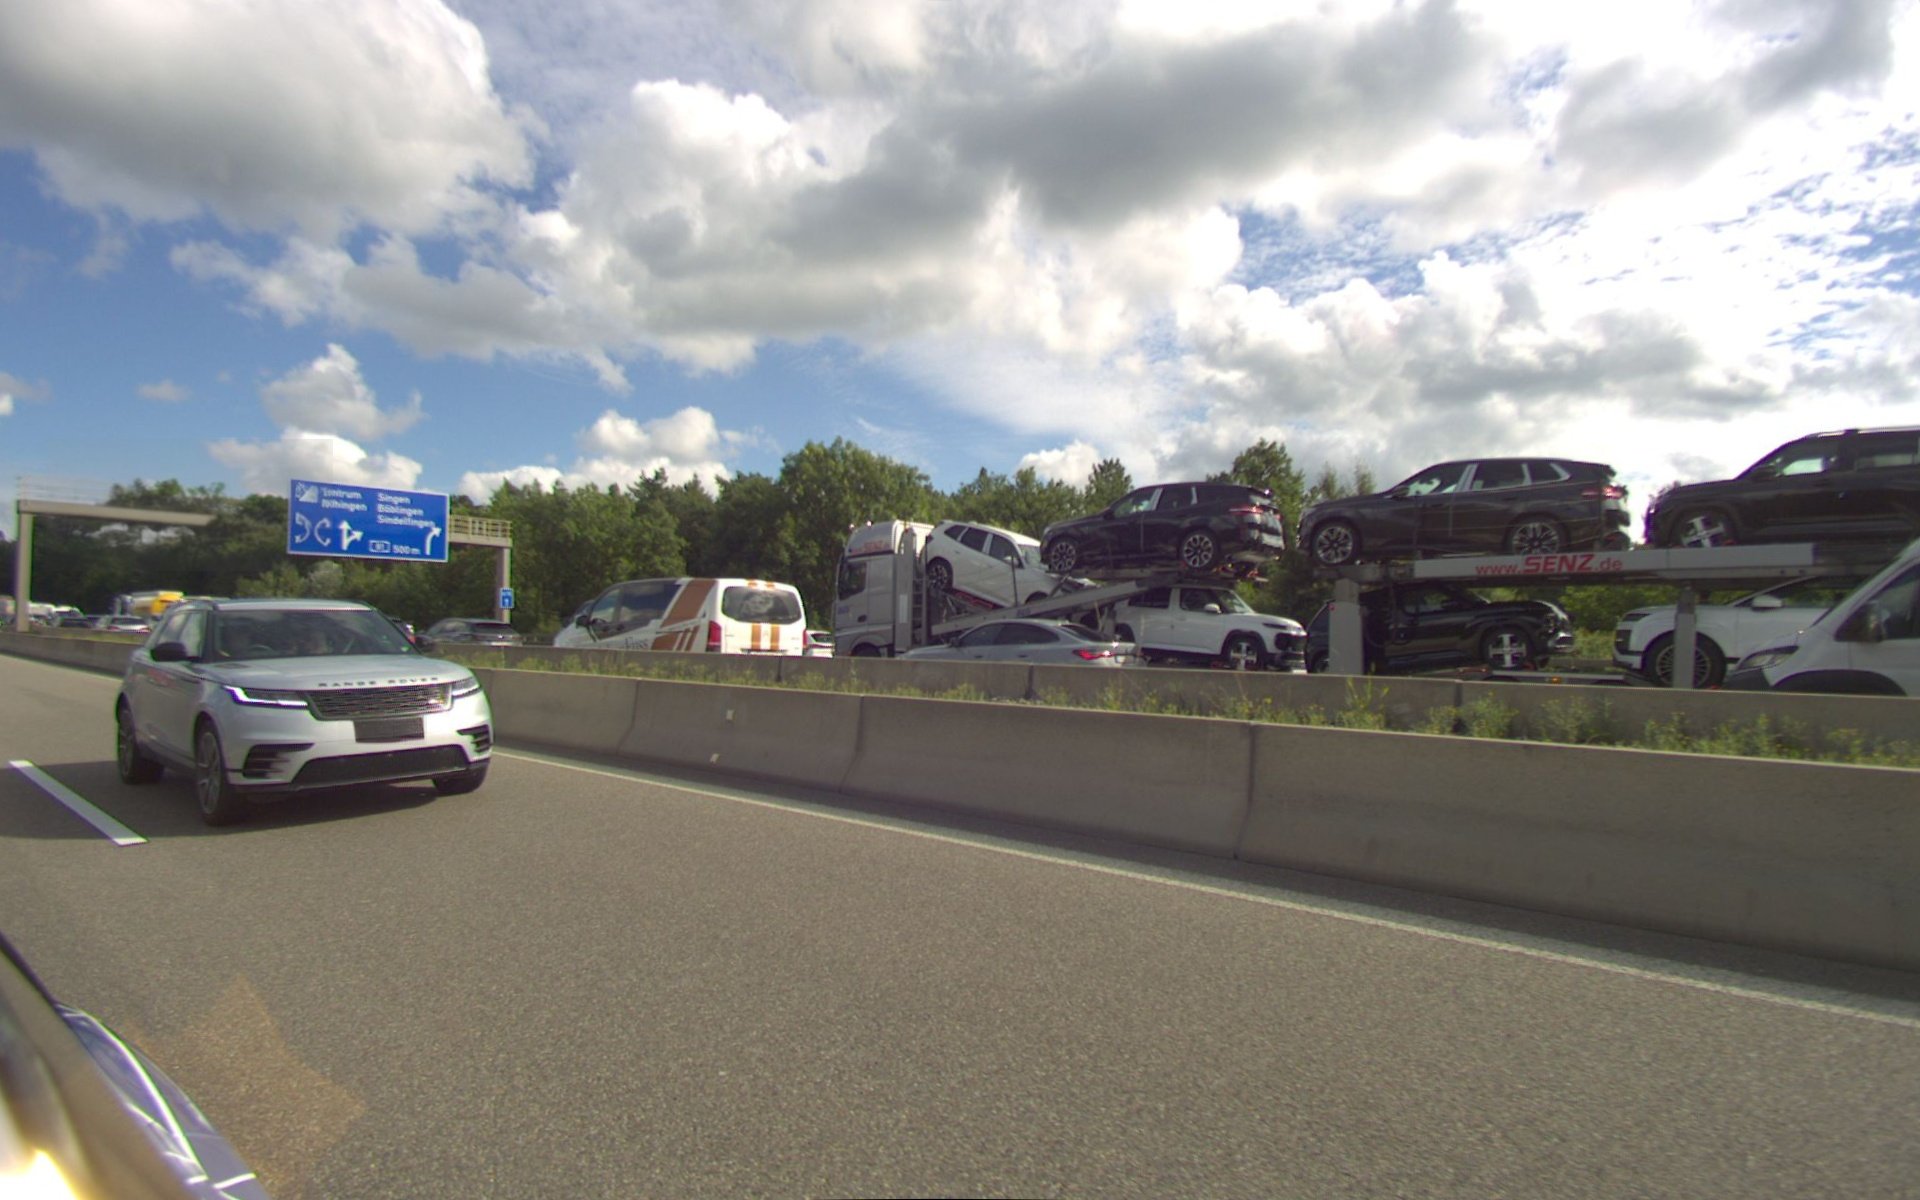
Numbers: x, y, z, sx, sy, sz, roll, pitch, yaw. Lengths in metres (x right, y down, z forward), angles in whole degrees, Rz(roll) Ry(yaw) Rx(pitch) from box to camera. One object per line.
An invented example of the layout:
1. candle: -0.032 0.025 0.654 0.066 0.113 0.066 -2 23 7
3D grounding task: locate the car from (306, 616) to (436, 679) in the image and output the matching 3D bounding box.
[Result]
1. car: -14.970 1.168 25.653 3.999 1.383 1.678 -2 1 42

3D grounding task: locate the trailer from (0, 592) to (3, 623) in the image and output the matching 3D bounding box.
1. trailer: -141.423 1.031 146.802 13.171 4.352 2.612 0 0 41

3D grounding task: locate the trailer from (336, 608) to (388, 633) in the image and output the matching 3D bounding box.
1. trailer: -40.775 1.391 68.965 4.347 1.591 1.807 0 0 41

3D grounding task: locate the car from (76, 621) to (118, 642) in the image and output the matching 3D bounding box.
1. car: -58.591 2.095 68.654 4.534 1.334 1.546 -1 0 41

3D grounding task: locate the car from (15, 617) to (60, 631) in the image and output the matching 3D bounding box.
1. car: -61.662 1.590 67.592 5.461 0.934 1.650 -1 0 41

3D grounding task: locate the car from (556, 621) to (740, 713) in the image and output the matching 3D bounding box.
1. car: -7.267 1.443 23.345 4.695 1.890 1.891 -1 -1 41

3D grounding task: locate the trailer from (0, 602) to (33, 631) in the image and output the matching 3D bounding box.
1. trailer: -123.712 2.187 132.155 10.215 3.686 2.857 -1 -1 41

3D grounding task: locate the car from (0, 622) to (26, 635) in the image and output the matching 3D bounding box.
1. car: -95.010 2.853 101.405 3.588 1.266 1.646 -2 0 41

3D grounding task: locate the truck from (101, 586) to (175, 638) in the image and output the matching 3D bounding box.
1. truck: -64.966 0.932 79.963 6.798 3.929 3.381 -1 0 41

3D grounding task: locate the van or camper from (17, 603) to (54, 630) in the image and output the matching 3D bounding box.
1. van or camper: -108.663 1.929 118.883 7.480 2.911 2.444 1 1 42

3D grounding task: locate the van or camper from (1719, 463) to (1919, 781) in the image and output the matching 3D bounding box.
1. van or camper: 10.455 0.190 8.297 6.629 2.731 2.366 0 0 42

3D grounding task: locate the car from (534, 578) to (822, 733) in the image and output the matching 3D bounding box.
1. car: -4.692 0.750 16.312 5.276 2.116 1.972 0 0 42

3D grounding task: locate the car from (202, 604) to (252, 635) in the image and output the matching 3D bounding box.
1. car: -47.063 1.257 64.941 3.949 1.890 1.781 -1 -1 41

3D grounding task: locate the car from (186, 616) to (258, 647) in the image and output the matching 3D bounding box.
1. car: -36.859 1.535 50.502 5.373 1.460 1.769 -1 0 41

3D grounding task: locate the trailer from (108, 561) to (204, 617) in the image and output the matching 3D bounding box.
1. trailer: -60.446 -0.673 75.900 13.254 3.857 3.376 -1 -1 41

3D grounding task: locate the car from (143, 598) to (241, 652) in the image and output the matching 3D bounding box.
1. car: -28.413 0.911 37.411 4.177 1.815 2.065 -1 0 41

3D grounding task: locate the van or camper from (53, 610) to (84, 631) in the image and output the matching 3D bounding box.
1. van or camper: -93.473 2.128 106.122 2.256 2.026 4.692 -1 0 -44

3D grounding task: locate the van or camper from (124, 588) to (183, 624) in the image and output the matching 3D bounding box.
1. van or camper: -61.673 0.419 77.307 7.395 2.662 2.300 0 0 42

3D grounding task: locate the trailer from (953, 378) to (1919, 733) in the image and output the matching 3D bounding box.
1. trailer: 6.792 -0.461 16.855 15.997 4.005 2.801 -1 0 41

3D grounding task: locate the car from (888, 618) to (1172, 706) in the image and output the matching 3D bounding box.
1. car: 1.052 0.940 16.842 4.564 1.240 1.813 -1 0 41

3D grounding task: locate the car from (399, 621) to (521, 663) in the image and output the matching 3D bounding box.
1. car: -15.113 1.218 30.459 4.882 1.085 1.623 0 0 42

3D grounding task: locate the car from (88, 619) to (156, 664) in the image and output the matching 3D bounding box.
1. car: -38.480 1.875 46.441 3.949 1.890 1.781 -1 1 41

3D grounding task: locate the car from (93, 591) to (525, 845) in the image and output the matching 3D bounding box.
1. car: -5.912 0.792 8.864 5.103 1.619 1.880 -1 -1 41

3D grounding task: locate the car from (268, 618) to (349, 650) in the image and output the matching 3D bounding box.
1. car: -25.256 1.269 39.182 4.162 1.148 1.548 -1 0 41

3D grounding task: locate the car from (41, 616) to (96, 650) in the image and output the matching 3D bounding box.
1. car: -50.748 1.855 57.564 4.936 1.812 1.748 -1 0 41

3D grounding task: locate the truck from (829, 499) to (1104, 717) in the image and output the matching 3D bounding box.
1. truck: 0.034 0.186 22.731 5.710 4.266 2.823 -1 0 41
